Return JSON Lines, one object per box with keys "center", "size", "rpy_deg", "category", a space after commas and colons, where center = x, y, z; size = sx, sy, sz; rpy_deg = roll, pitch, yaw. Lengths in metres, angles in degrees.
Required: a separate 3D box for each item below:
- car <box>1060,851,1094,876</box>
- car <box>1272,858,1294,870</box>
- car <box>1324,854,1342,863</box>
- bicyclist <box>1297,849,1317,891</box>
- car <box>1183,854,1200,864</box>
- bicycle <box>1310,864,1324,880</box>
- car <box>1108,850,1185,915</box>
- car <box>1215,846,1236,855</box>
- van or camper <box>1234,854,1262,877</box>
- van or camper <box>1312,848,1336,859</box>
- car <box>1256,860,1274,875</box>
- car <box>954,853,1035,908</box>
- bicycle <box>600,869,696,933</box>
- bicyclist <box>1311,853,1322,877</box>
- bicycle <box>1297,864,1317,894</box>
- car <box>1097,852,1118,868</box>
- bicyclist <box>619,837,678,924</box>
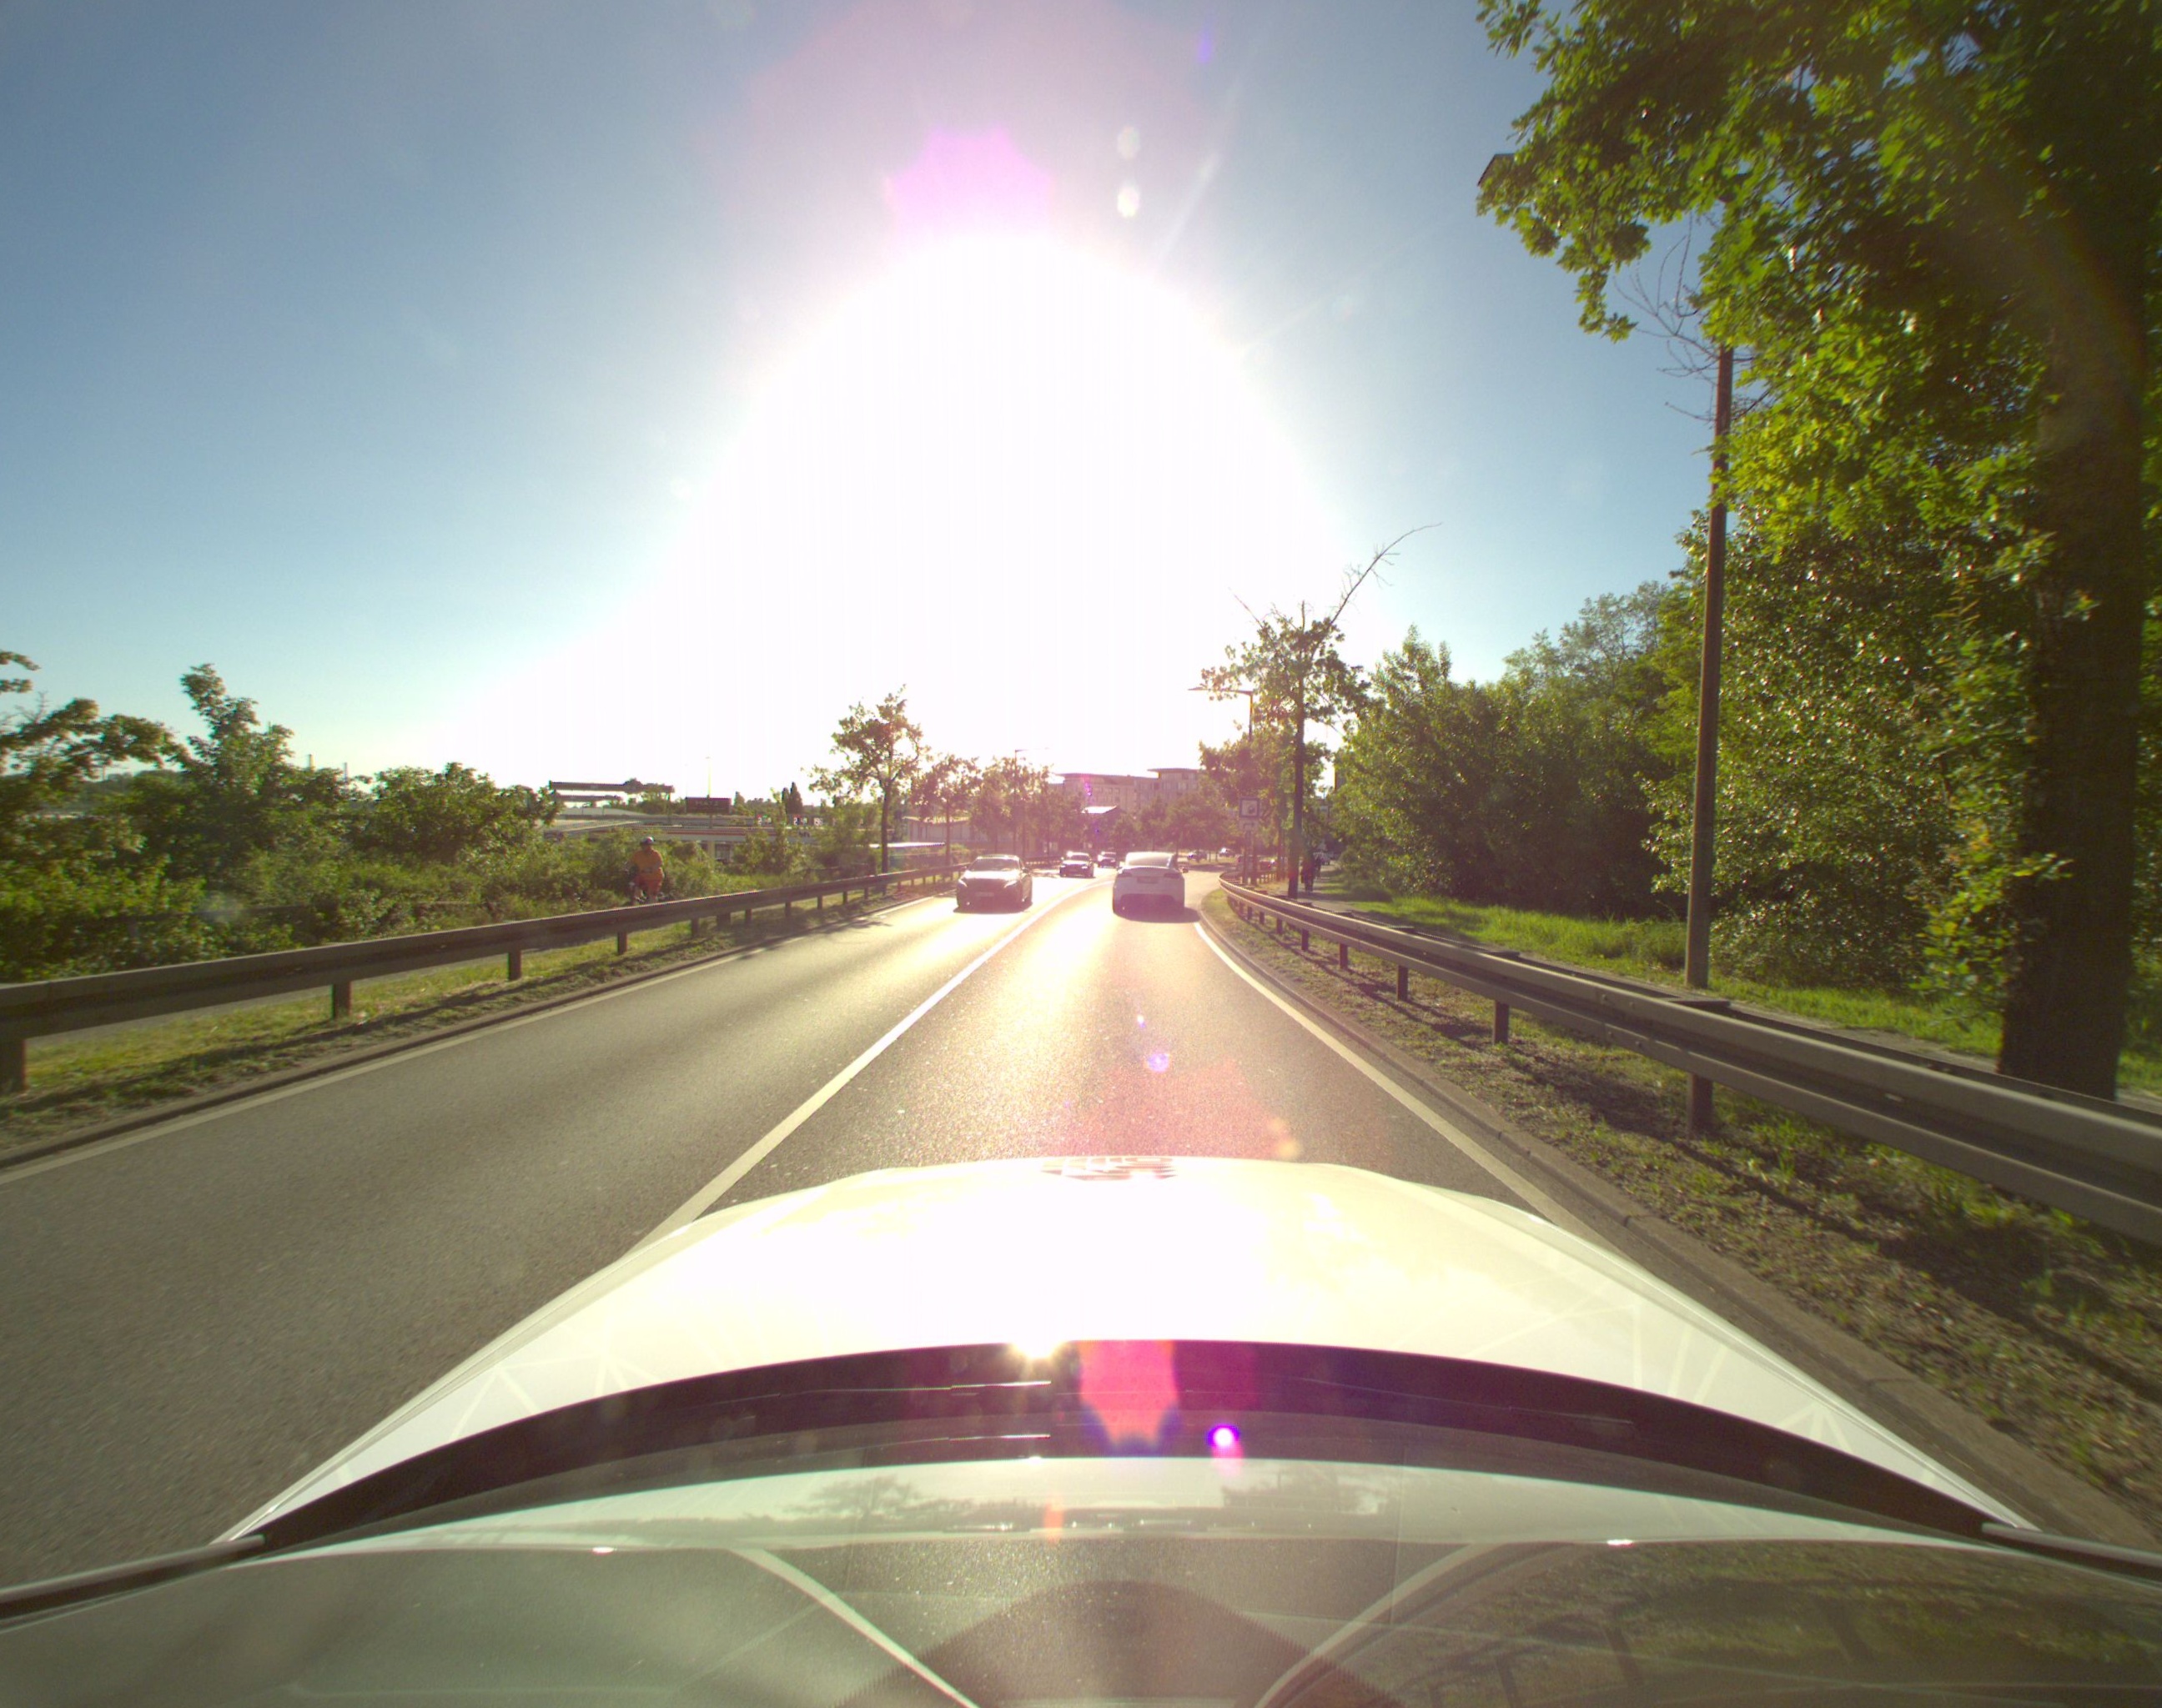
{"center": [-0.233, 0.565, 51.622], "size": [1.801, 1.496, 4.374], "rpy_deg": [0, 0, 4], "category": "car"}
{"center": [28.026, 1.331, 112.942], "size": [1.746, 1.475, 4.316], "rpy_deg": [3, 2, 32], "category": "car"}
{"center": [47.218, 0.780, 152.389], "size": [1.693, 1.522, 3.765], "rpy_deg": [3, 3, 44], "category": "car"}
{"center": [8.526, 0.594, 30.733], "size": [0.702, 1.578, 1.009], "rpy_deg": [0, 0, 16], "category": "bicyclist"}
{"center": [17.391, 0.746, 127.715], "size": [1.748, 1.489, 4.297], "rpy_deg": [3, 1, 19], "category": "car"}
{"center": [17.424, 1.297, 60.159], "size": [0.689, 1.095, 2.130], "rpy_deg": [0, 0, 25], "category": "bicycle"}
{"center": [1.934, 0.702, 22.830], "size": [1.903, 1.641, 4.420], "rpy_deg": [0, 0, 8], "category": "car"}
{"center": [26.012, -0.678, 146.822], "size": [1.713, 1.385, 4.524], "rpy_deg": [3, 1, 38], "category": "car"}
{"center": [14.754, 0.983, 71.713], "size": [1.943, 1.884, 4.901], "rpy_deg": [0, 0, 16], "category": "van or camper"}
{"center": [39.349, -0.109, 131.978], "size": [1.809, 1.790, 4.572], "rpy_deg": [4, 3, 43], "category": "van or camper"}
{"center": [21.022, 1.527, 92.999], "size": [1.591, 1.434, 3.696], "rpy_deg": [3, 3, 18], "category": "car"}
{"center": [-2.425, 0.695, 23.799], "size": [1.684, 1.441, 4.220], "rpy_deg": [0, 0, 3], "category": "car"}
{"center": [-8.291, 0.871, 15.703], "size": [0.658, 1.095, 2.109], "rpy_deg": [0, 0, 2], "category": "bicycle"}
{"center": [17.364, 0.812, 60.051], "size": [0.669, 1.776, 0.953], "rpy_deg": [0, 0, 25], "category": "bicyclist"}
{"center": [8.472, 0.919, 30.543], "size": [0.695, 1.074, 1.929], "rpy_deg": [0, -1, 16], "category": "bicycle"}
{"center": [2.540, 0.506, 77.205], "size": [1.656, 1.445, 3.855], "rpy_deg": [1, 0, 5], "category": "car"}
{"center": [-8.295, 0.497, 15.645], "size": [0.649, 1.623, 0.874], "rpy_deg": [0, 0, 1], "category": "bicyclist"}
